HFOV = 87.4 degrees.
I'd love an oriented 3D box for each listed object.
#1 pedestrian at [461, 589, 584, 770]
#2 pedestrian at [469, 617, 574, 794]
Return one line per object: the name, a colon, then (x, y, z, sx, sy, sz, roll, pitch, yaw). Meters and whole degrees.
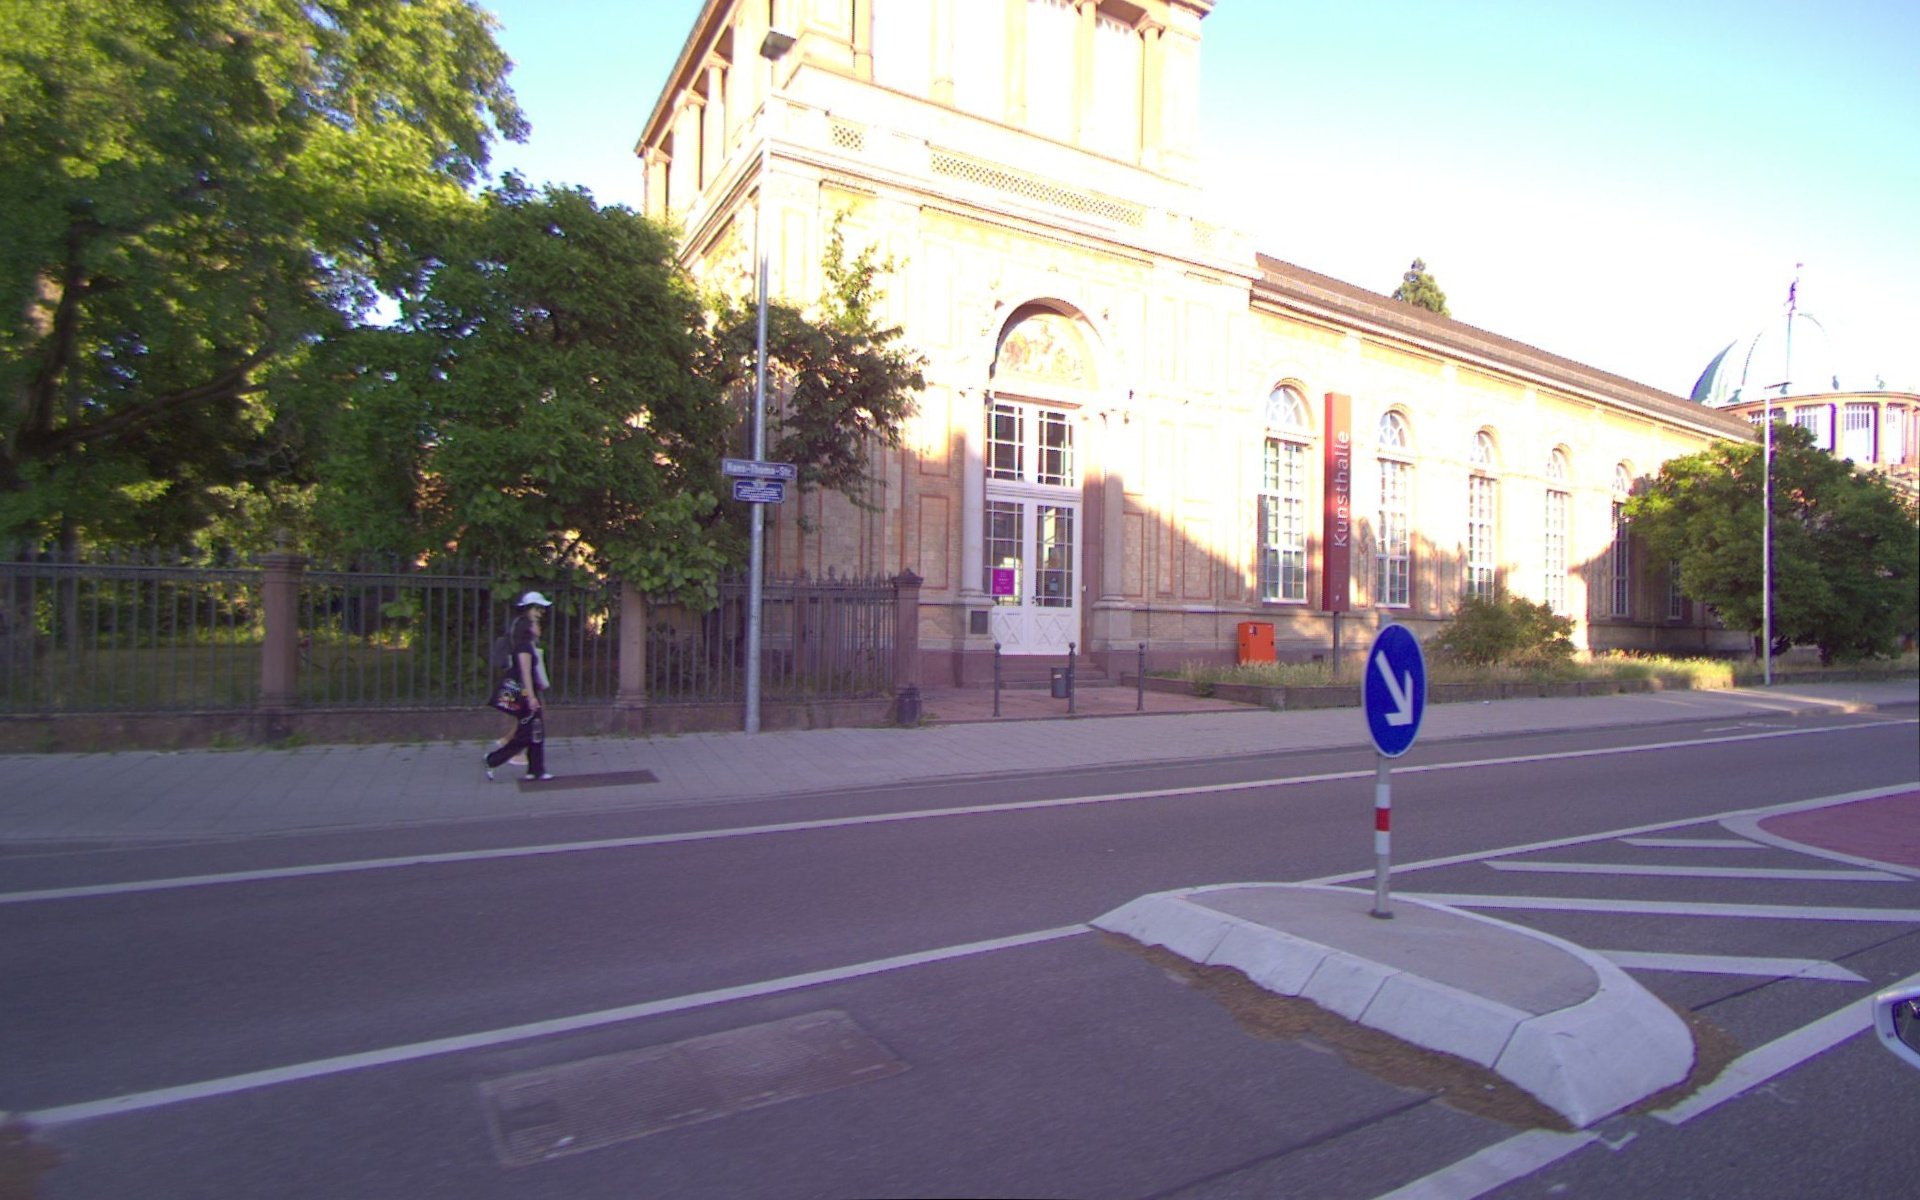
pedestrian: (-4.532, 0.786, 10.449, 0.832, 1.761, 0.809, 2, 2, 7)
pedestrian: (-4.131, 0.956, 9.442, 0.825, 1.534, 0.671, 1, 3, -28)
